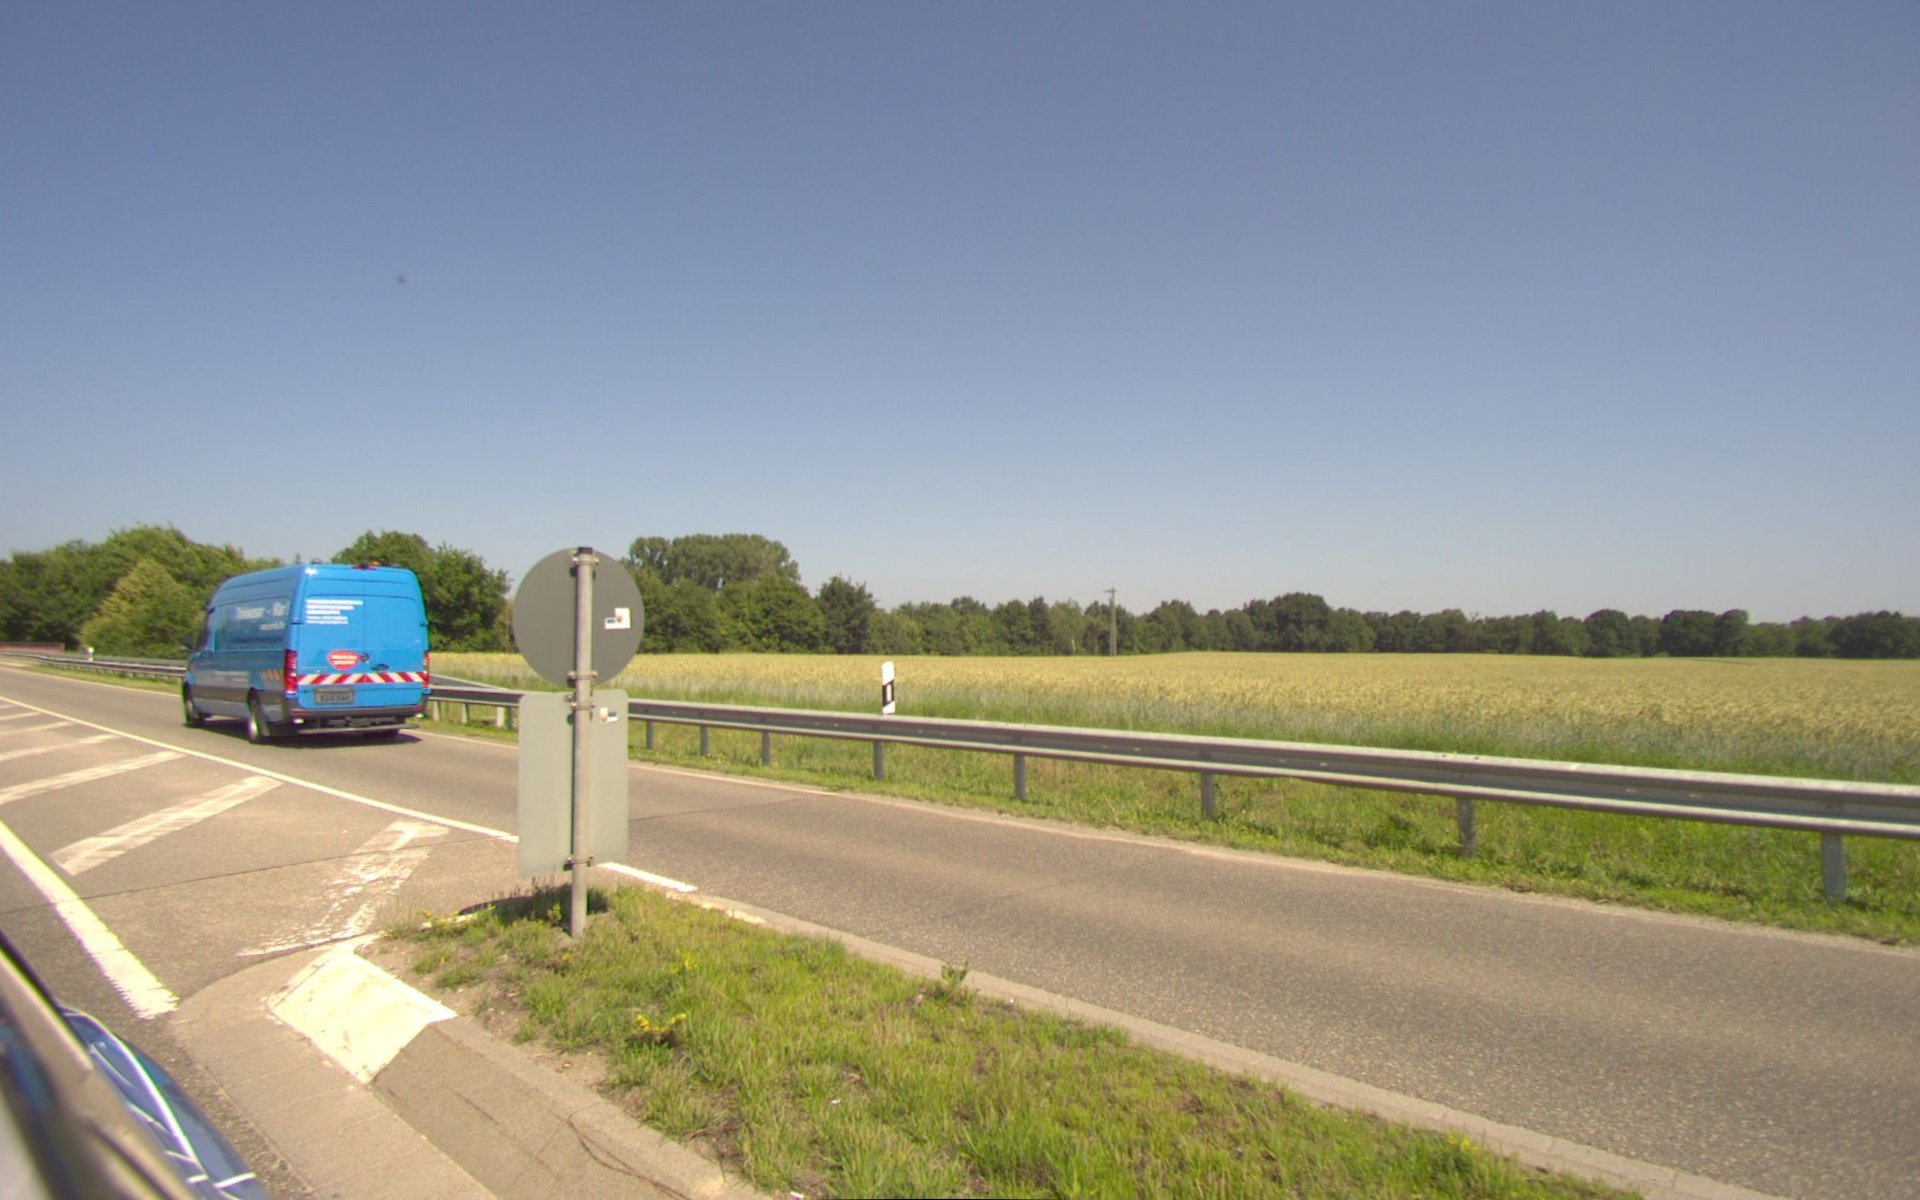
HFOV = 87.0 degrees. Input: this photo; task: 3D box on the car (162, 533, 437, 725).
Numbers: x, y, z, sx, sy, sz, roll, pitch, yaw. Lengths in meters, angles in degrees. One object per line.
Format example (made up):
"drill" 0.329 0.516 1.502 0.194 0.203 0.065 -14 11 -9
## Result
"car" -11.320 0.580 17.016 7.288 2.631 1.972 -3 -5 42
